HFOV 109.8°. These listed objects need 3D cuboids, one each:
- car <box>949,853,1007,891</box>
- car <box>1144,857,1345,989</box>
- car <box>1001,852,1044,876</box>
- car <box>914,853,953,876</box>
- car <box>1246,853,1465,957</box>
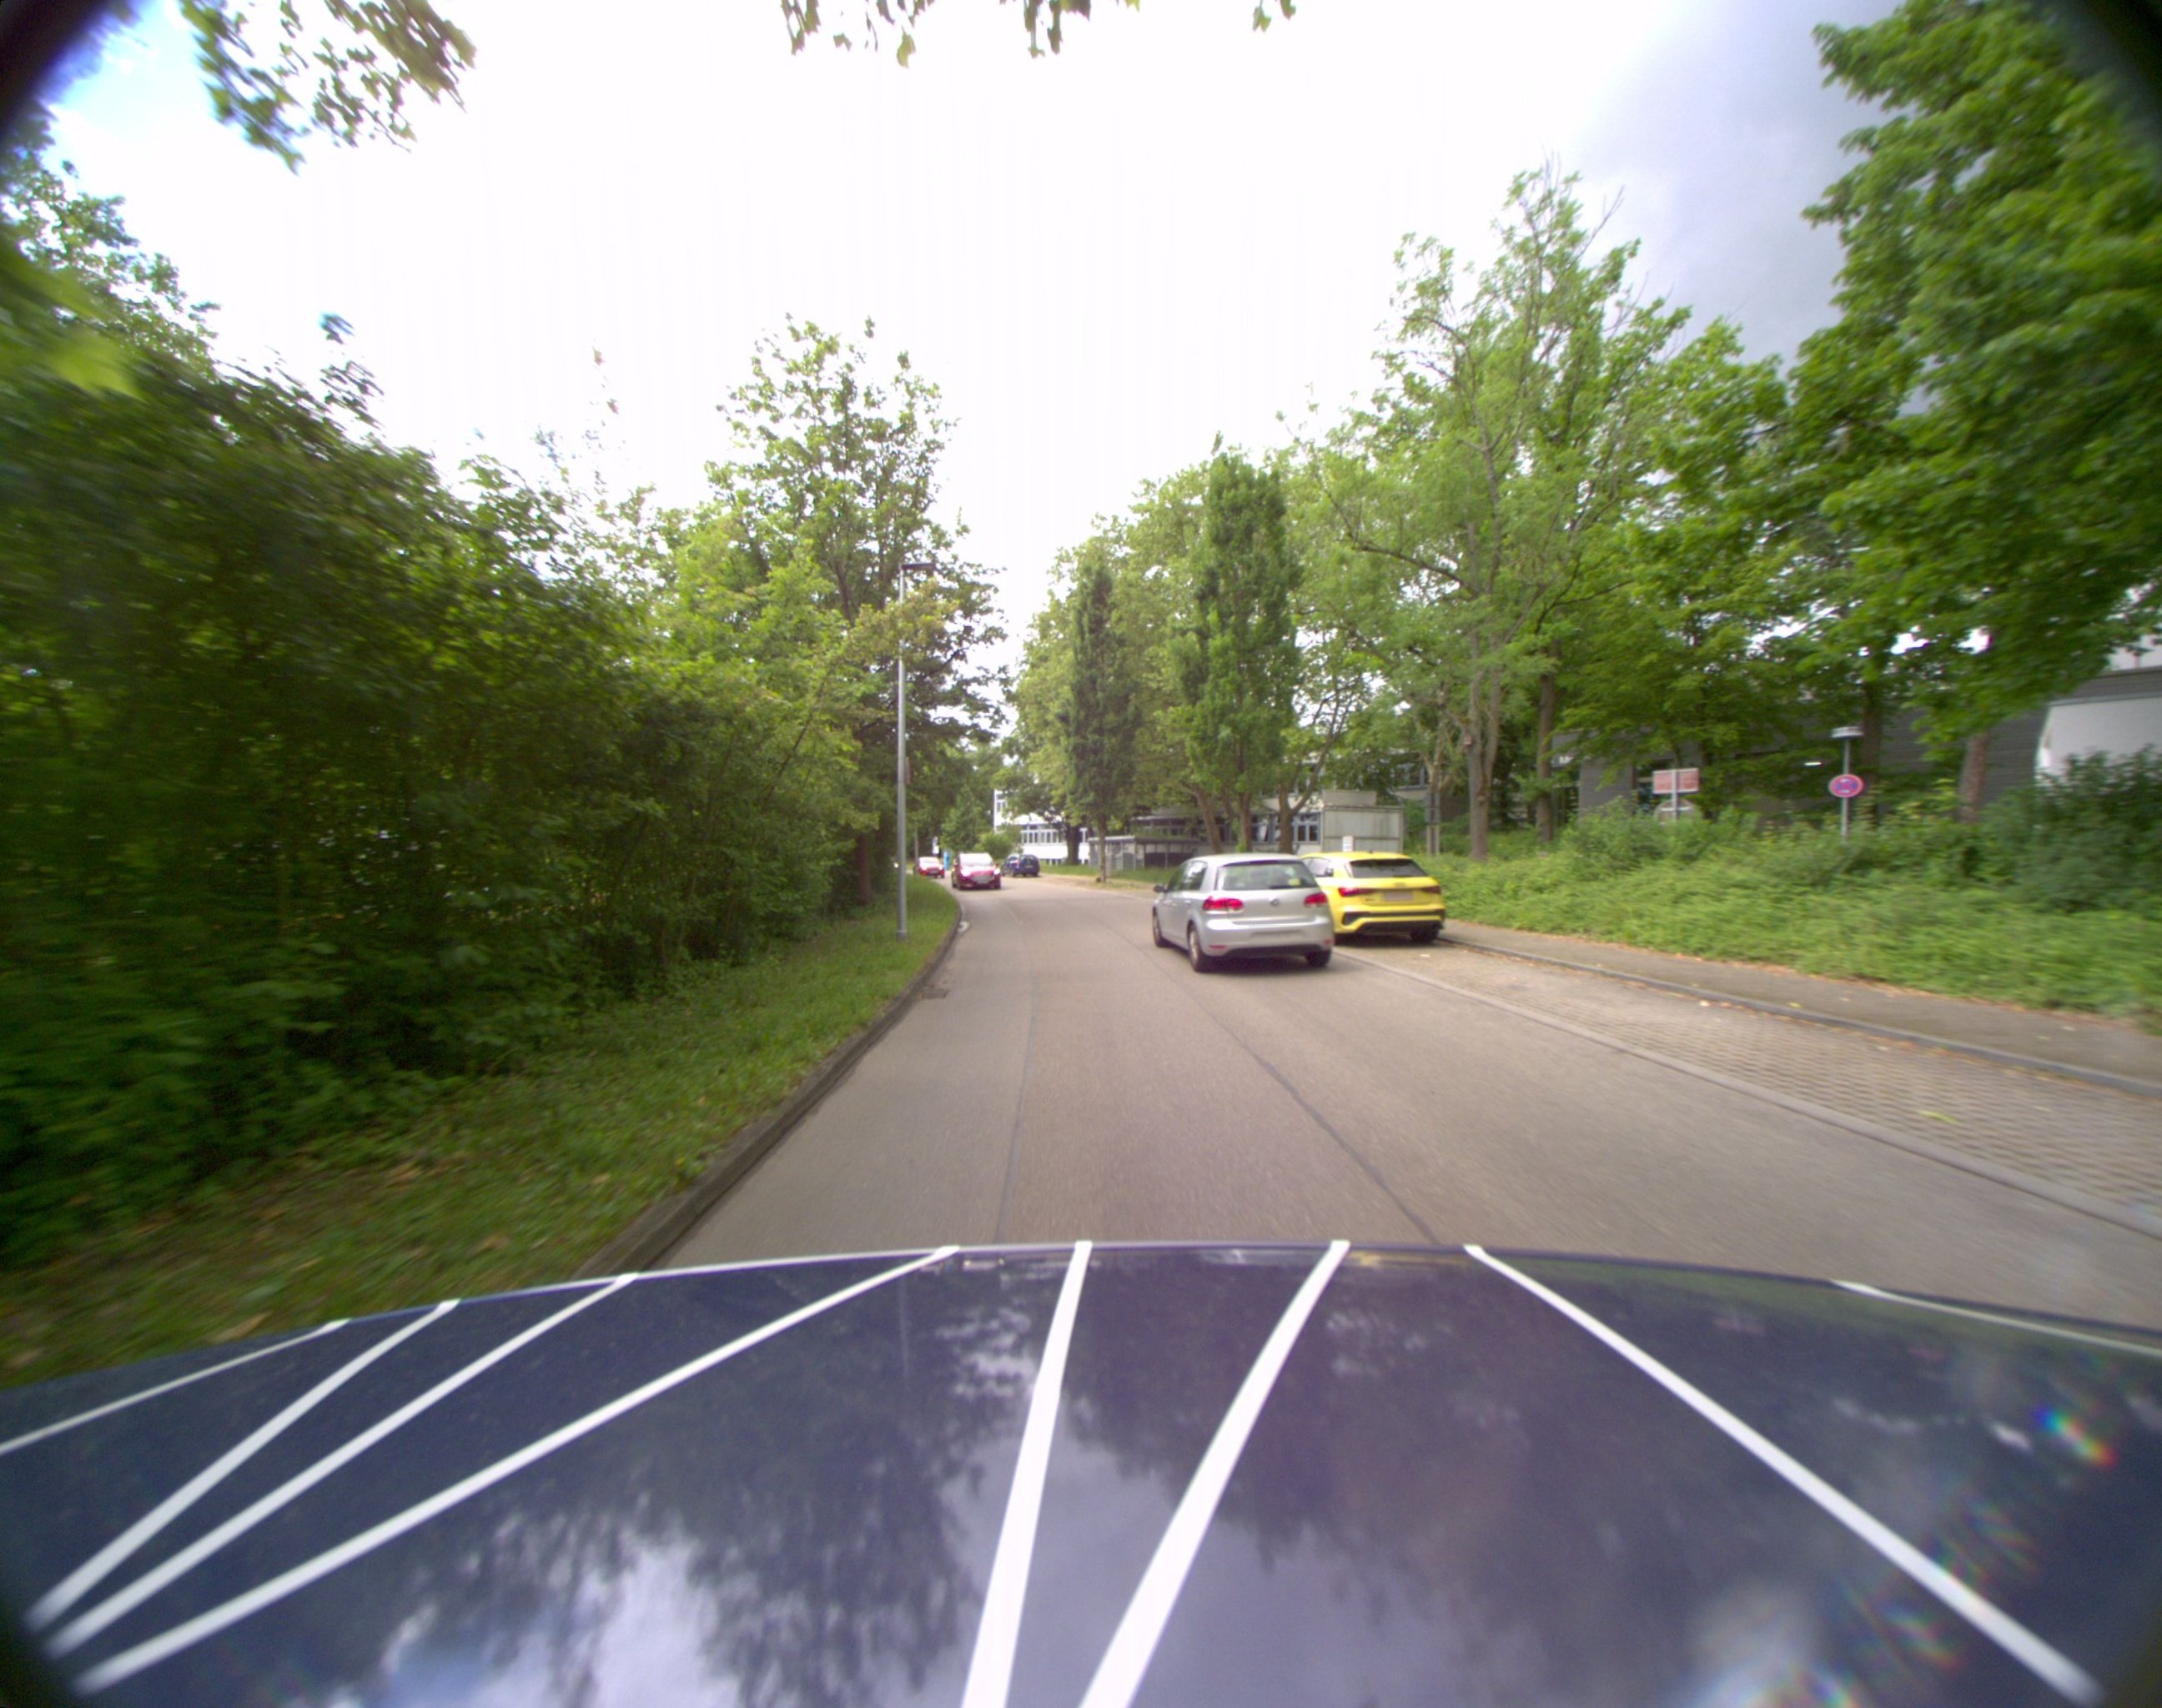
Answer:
[{"bbox_3d":[-4.853,0.773,35.294,1.864,1.608,4.469,-2,0,-18],"label":"car"},{"bbox_3d":[2.073,0.803,10.826,1.681,1.454,4.060,-2,0,-4],"label":"car"},{"bbox_3d":[-3.927,0.619,50.060,1.687,1.503,4.423,0,0,-20],"label":"car"},{"bbox_3d":[-10.214,0.720,52.403,2.002,1.564,3.993,1,-1,-20],"label":"car"},{"bbox_3d":[4.331,0.707,12.793,1.705,1.394,4.270,-1,1,-7],"label":"car"}]
